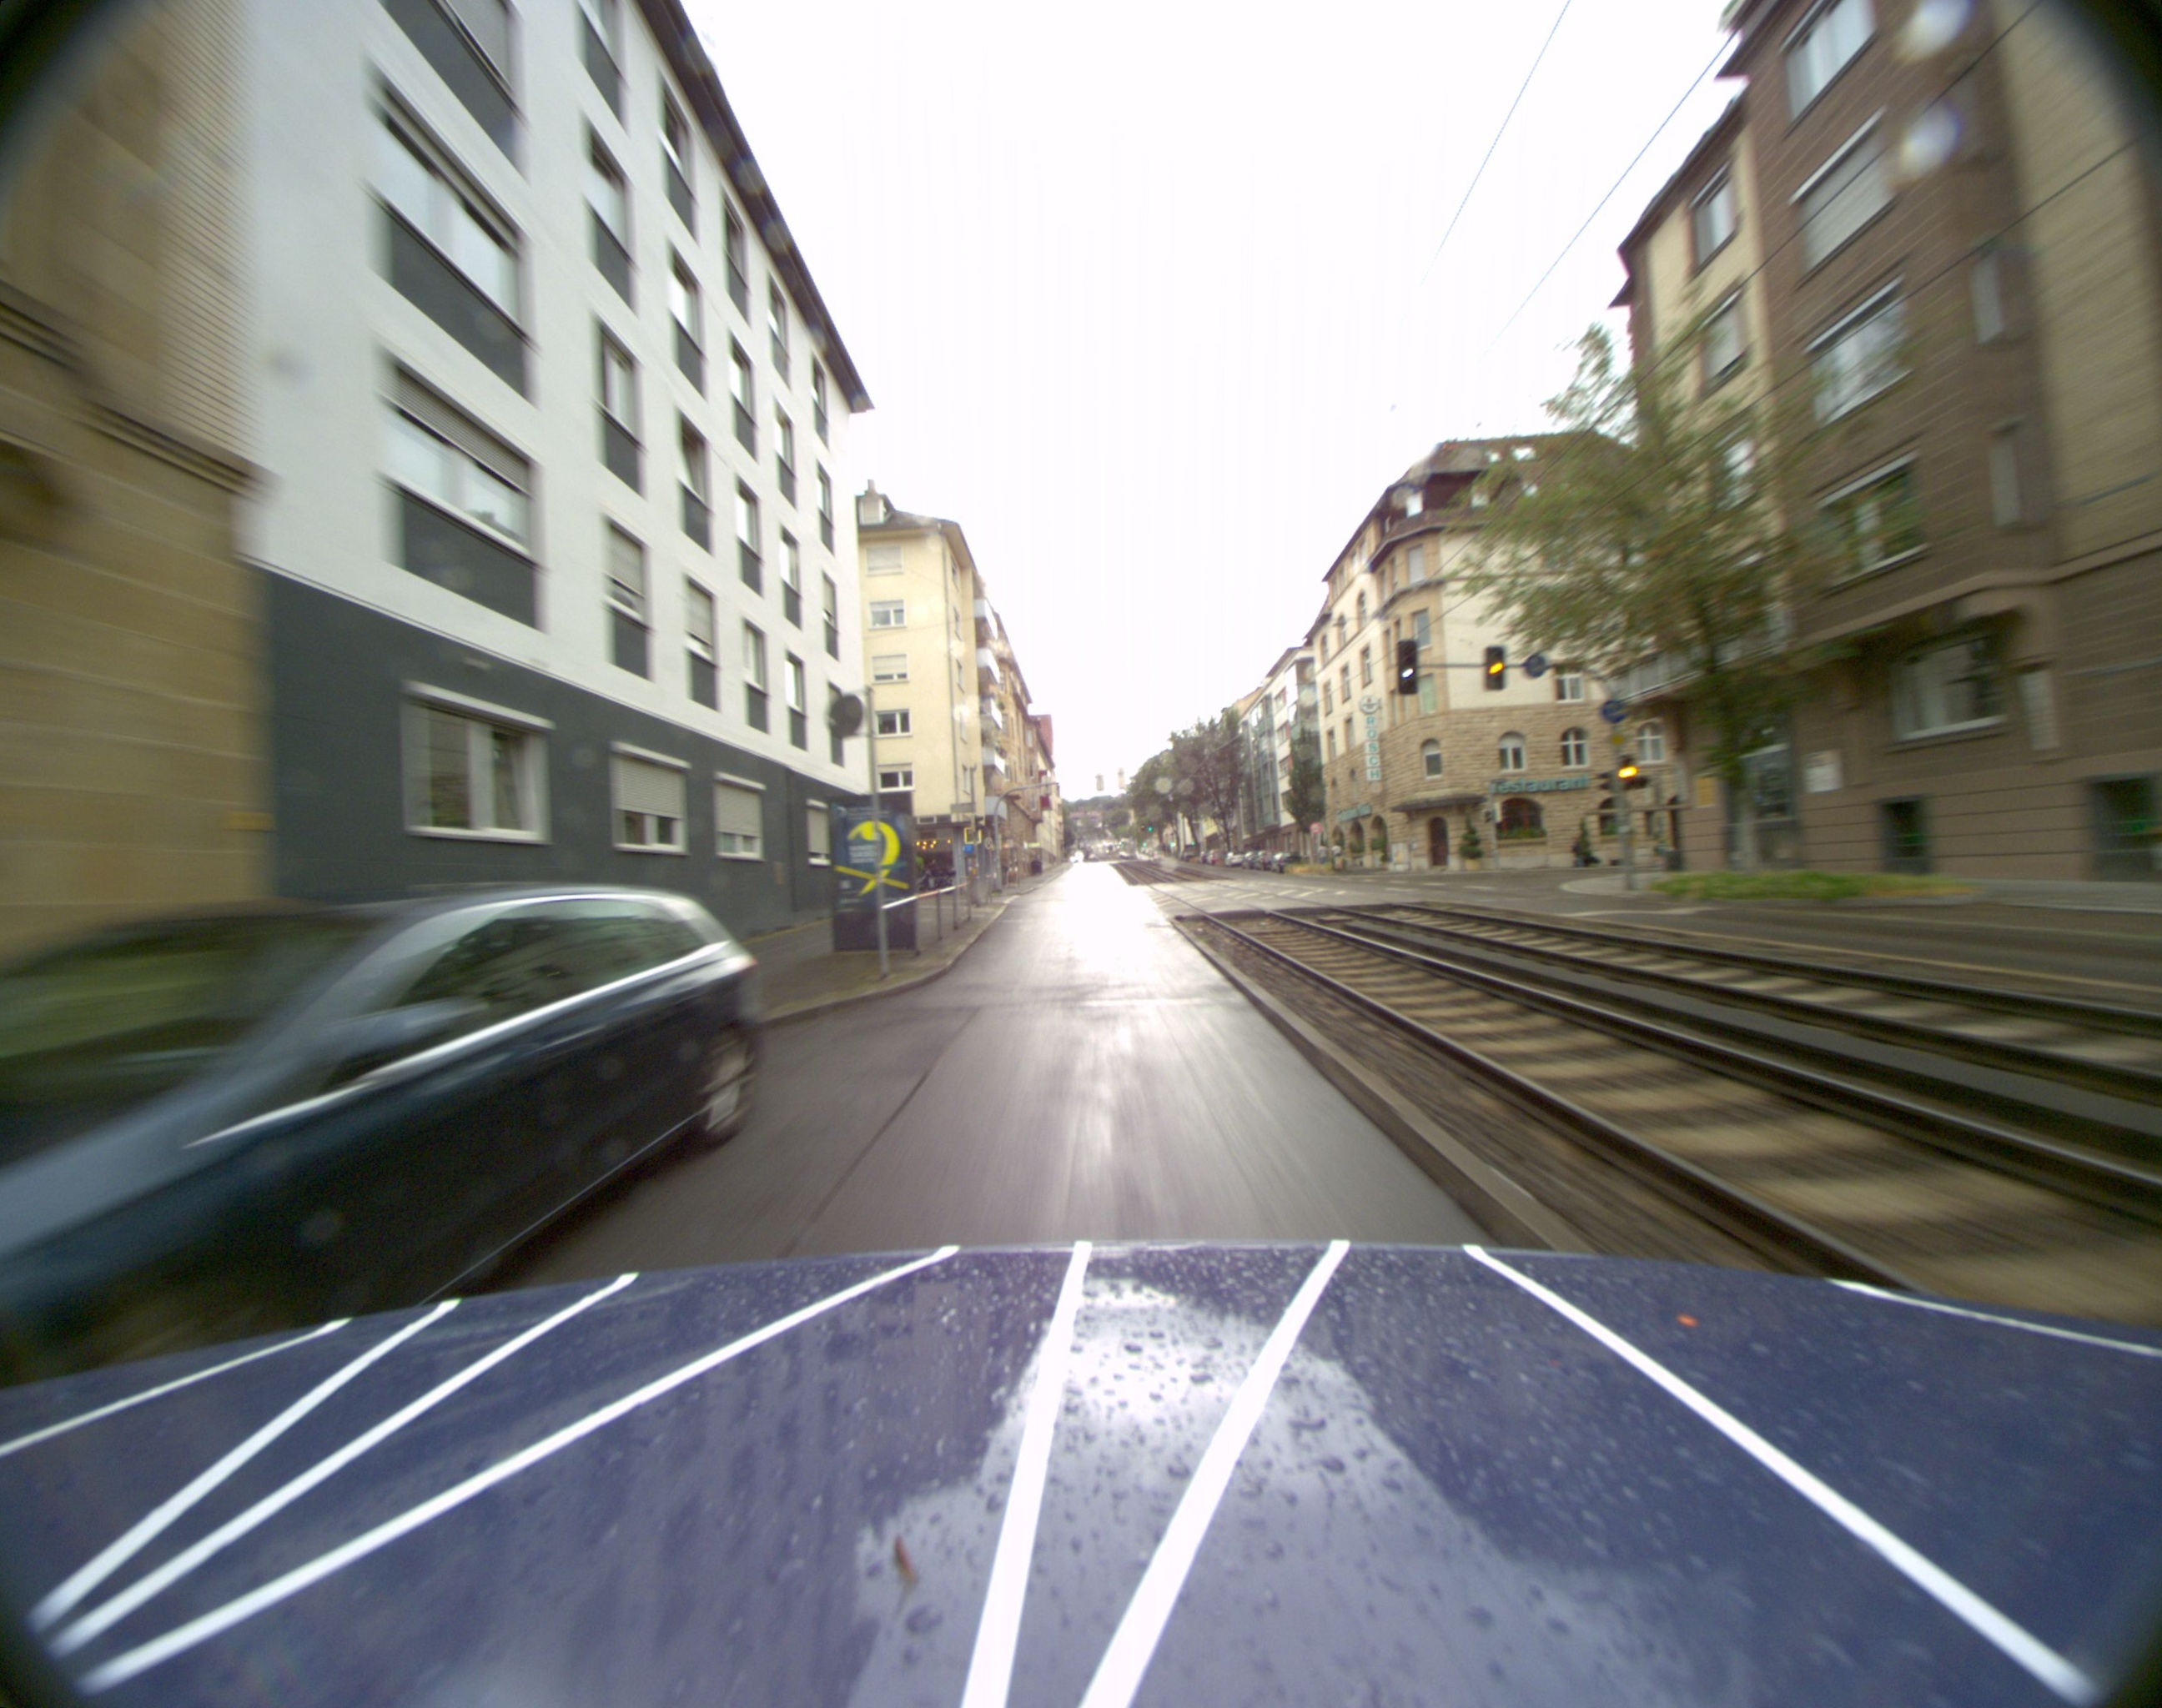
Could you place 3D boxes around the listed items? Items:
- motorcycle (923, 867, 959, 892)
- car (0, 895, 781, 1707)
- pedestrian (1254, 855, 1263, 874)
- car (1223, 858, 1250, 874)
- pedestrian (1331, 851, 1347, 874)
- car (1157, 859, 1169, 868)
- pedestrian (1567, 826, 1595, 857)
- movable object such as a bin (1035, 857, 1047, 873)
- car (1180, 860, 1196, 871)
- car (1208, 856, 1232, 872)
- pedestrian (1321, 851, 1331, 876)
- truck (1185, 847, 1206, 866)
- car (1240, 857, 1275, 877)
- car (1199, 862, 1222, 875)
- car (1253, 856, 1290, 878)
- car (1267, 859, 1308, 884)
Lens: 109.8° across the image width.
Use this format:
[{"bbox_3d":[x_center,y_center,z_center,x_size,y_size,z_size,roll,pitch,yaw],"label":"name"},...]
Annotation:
[{"bbox_3d":[-6.863,1.248,37.265,1.648,1.155,0.600,1,1,3],"label":"motorcycle"},{"bbox_3d":[-2.953,1.186,2.722,1.773,1.797,4.483,-3,-1,2],"label":"car"},{"bbox_3d":[17.520,1.031,74.891,0.675,1.762,0.782,-3,0,2],"label":"pedestrian"},{"bbox_3d":[14.228,1.099,69.743,1.706,1.328,4.131,-5,0,2],"label":"car"},{"bbox_3d":[16.721,0.540,49.229,0.756,1.413,0.645,-3,0,2],"label":"pedestrian"},{"bbox_3d":[13.384,1.517,124.493,1.631,1.473,3.581,-2,0,2],"label":"car"},{"bbox_3d":[23.421,-0.593,35.601,0.818,1.407,0.721,-2,1,5],"label":"pedestrian"},{"bbox_3d":[-3.880,1.054,73.375,1.011,1.442,1.393,0,0,2],"label":"movable object such as a bin"},{"bbox_3d":[15.841,1.633,112.720,1.708,1.451,4.361,-4,0,2],"label":"car"},{"bbox_3d":[14.818,1.025,81.180,1.780,1.560,4.159,-2,0,1],"label":"car"},{"bbox_3d":[15.868,0.613,49.218,0.518,1.561,0.643,-1,1,6],"label":"pedestrian"},{"bbox_3d":[15.352,0.259,102.579,2.197,2.332,6.353,-2,1,4],"label":"truck"},{"bbox_3d":[14.139,0.997,61.046,1.805,1.446,4.431,-3,0,1],"label":"car"},{"bbox_3d":[14.993,1.645,88.433,1.911,1.431,4.469,-2,0,1],"label":"car"},{"bbox_3d":[14.033,0.960,56.241,1.812,1.489,3.526,-3,-1,0],"label":"car"},{"bbox_3d":[13.900,1.154,51.363,1.769,1.543,3.895,-3,-1,1],"label":"car"}]
